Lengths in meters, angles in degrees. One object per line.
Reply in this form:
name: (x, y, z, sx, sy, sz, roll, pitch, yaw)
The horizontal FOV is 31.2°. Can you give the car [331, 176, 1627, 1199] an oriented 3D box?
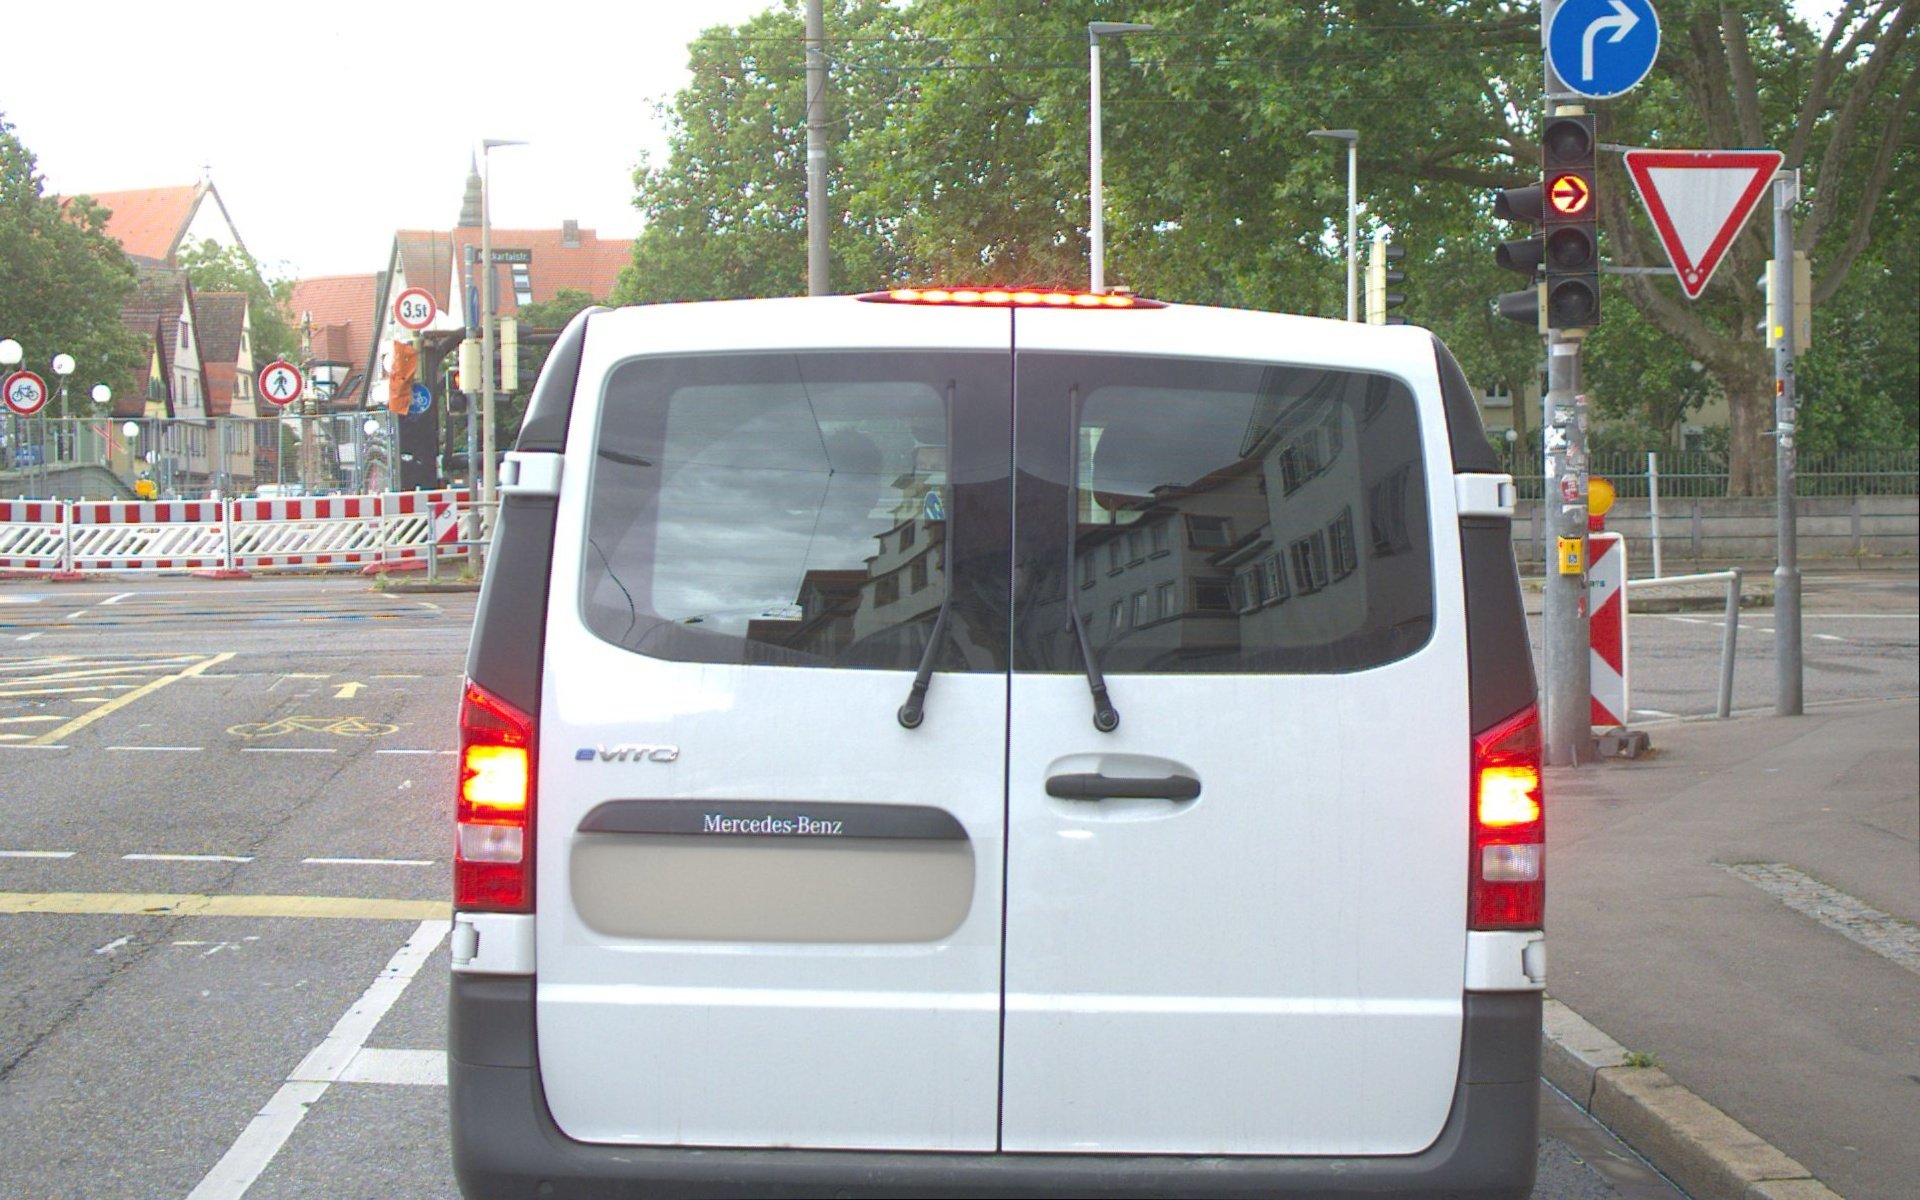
car: (-0.003, 0.276, 7.587, 1.951, 2.006, 4.699, 1, 2, -1)
